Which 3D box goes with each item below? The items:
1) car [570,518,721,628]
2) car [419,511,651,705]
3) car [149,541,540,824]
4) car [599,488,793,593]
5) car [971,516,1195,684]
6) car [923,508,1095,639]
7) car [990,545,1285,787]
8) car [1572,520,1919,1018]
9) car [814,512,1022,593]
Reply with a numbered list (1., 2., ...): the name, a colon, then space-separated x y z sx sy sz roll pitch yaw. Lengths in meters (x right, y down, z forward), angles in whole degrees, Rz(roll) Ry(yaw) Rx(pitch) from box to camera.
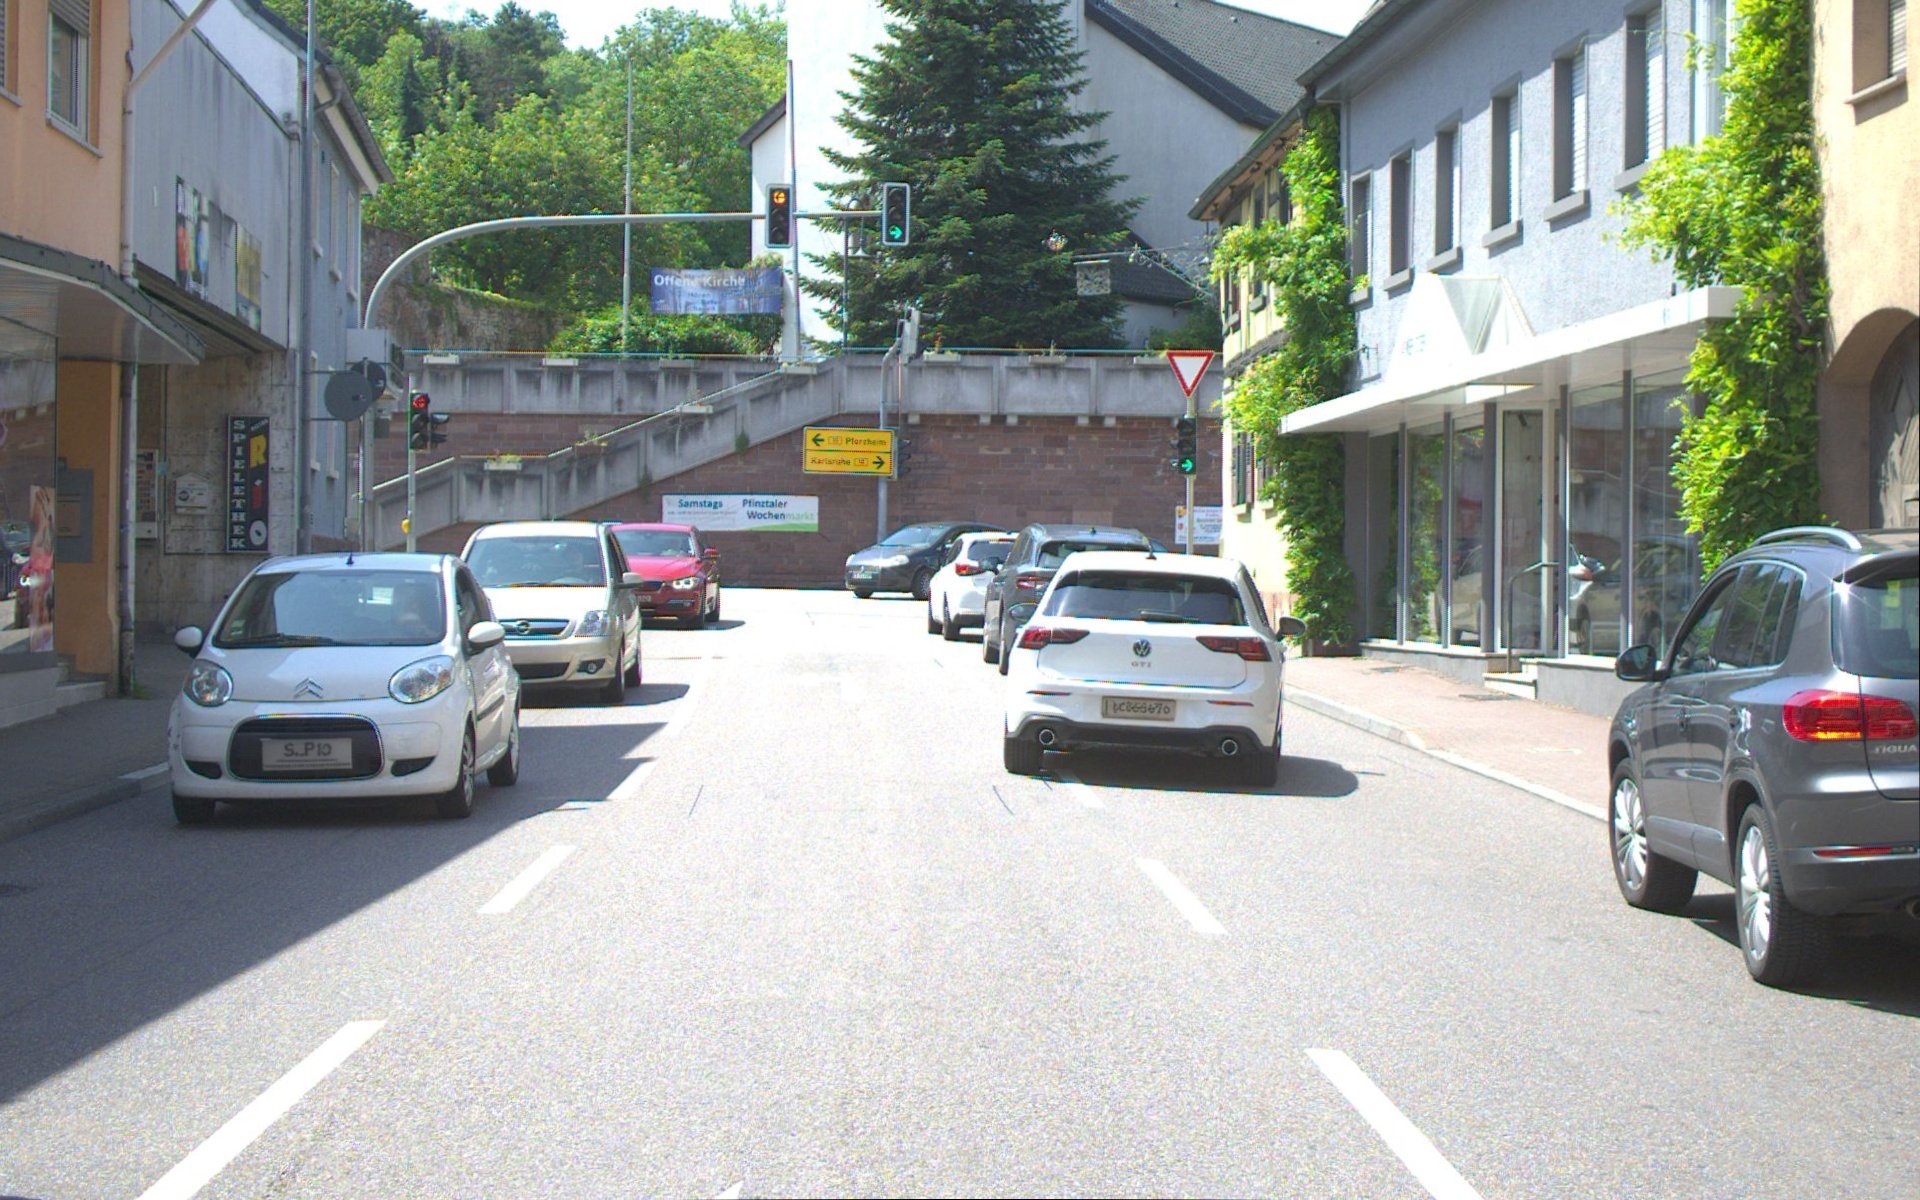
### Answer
1. car: -4.395 -0.418 48.545 1.717 1.404 4.285 -1 2 0
2. car: -3.848 0.022 31.640 1.679 1.611 3.821 -1 2 -1
3. car: -3.442 0.407 19.778 1.596 1.450 3.447 -1 1 0
4. car: -5.644 -1.259 73.587 3.986 2.007 2.000 3 0 -4
5. car: 1.275 -0.051 37.598 1.949 1.577 4.327 1 3 -4
6. car: 0.624 -0.400 47.150 1.949 1.577 4.327 1 3 -4
7. car: 1.246 0.374 23.023 1.783 1.453 3.862 1 1 5
8. car: 3.809 0.534 13.852 1.993 1.703 4.101 -1 1 1
9. car: -0.768 -0.919 64.988 3.810 1.418 1.722 -3 3 -45
